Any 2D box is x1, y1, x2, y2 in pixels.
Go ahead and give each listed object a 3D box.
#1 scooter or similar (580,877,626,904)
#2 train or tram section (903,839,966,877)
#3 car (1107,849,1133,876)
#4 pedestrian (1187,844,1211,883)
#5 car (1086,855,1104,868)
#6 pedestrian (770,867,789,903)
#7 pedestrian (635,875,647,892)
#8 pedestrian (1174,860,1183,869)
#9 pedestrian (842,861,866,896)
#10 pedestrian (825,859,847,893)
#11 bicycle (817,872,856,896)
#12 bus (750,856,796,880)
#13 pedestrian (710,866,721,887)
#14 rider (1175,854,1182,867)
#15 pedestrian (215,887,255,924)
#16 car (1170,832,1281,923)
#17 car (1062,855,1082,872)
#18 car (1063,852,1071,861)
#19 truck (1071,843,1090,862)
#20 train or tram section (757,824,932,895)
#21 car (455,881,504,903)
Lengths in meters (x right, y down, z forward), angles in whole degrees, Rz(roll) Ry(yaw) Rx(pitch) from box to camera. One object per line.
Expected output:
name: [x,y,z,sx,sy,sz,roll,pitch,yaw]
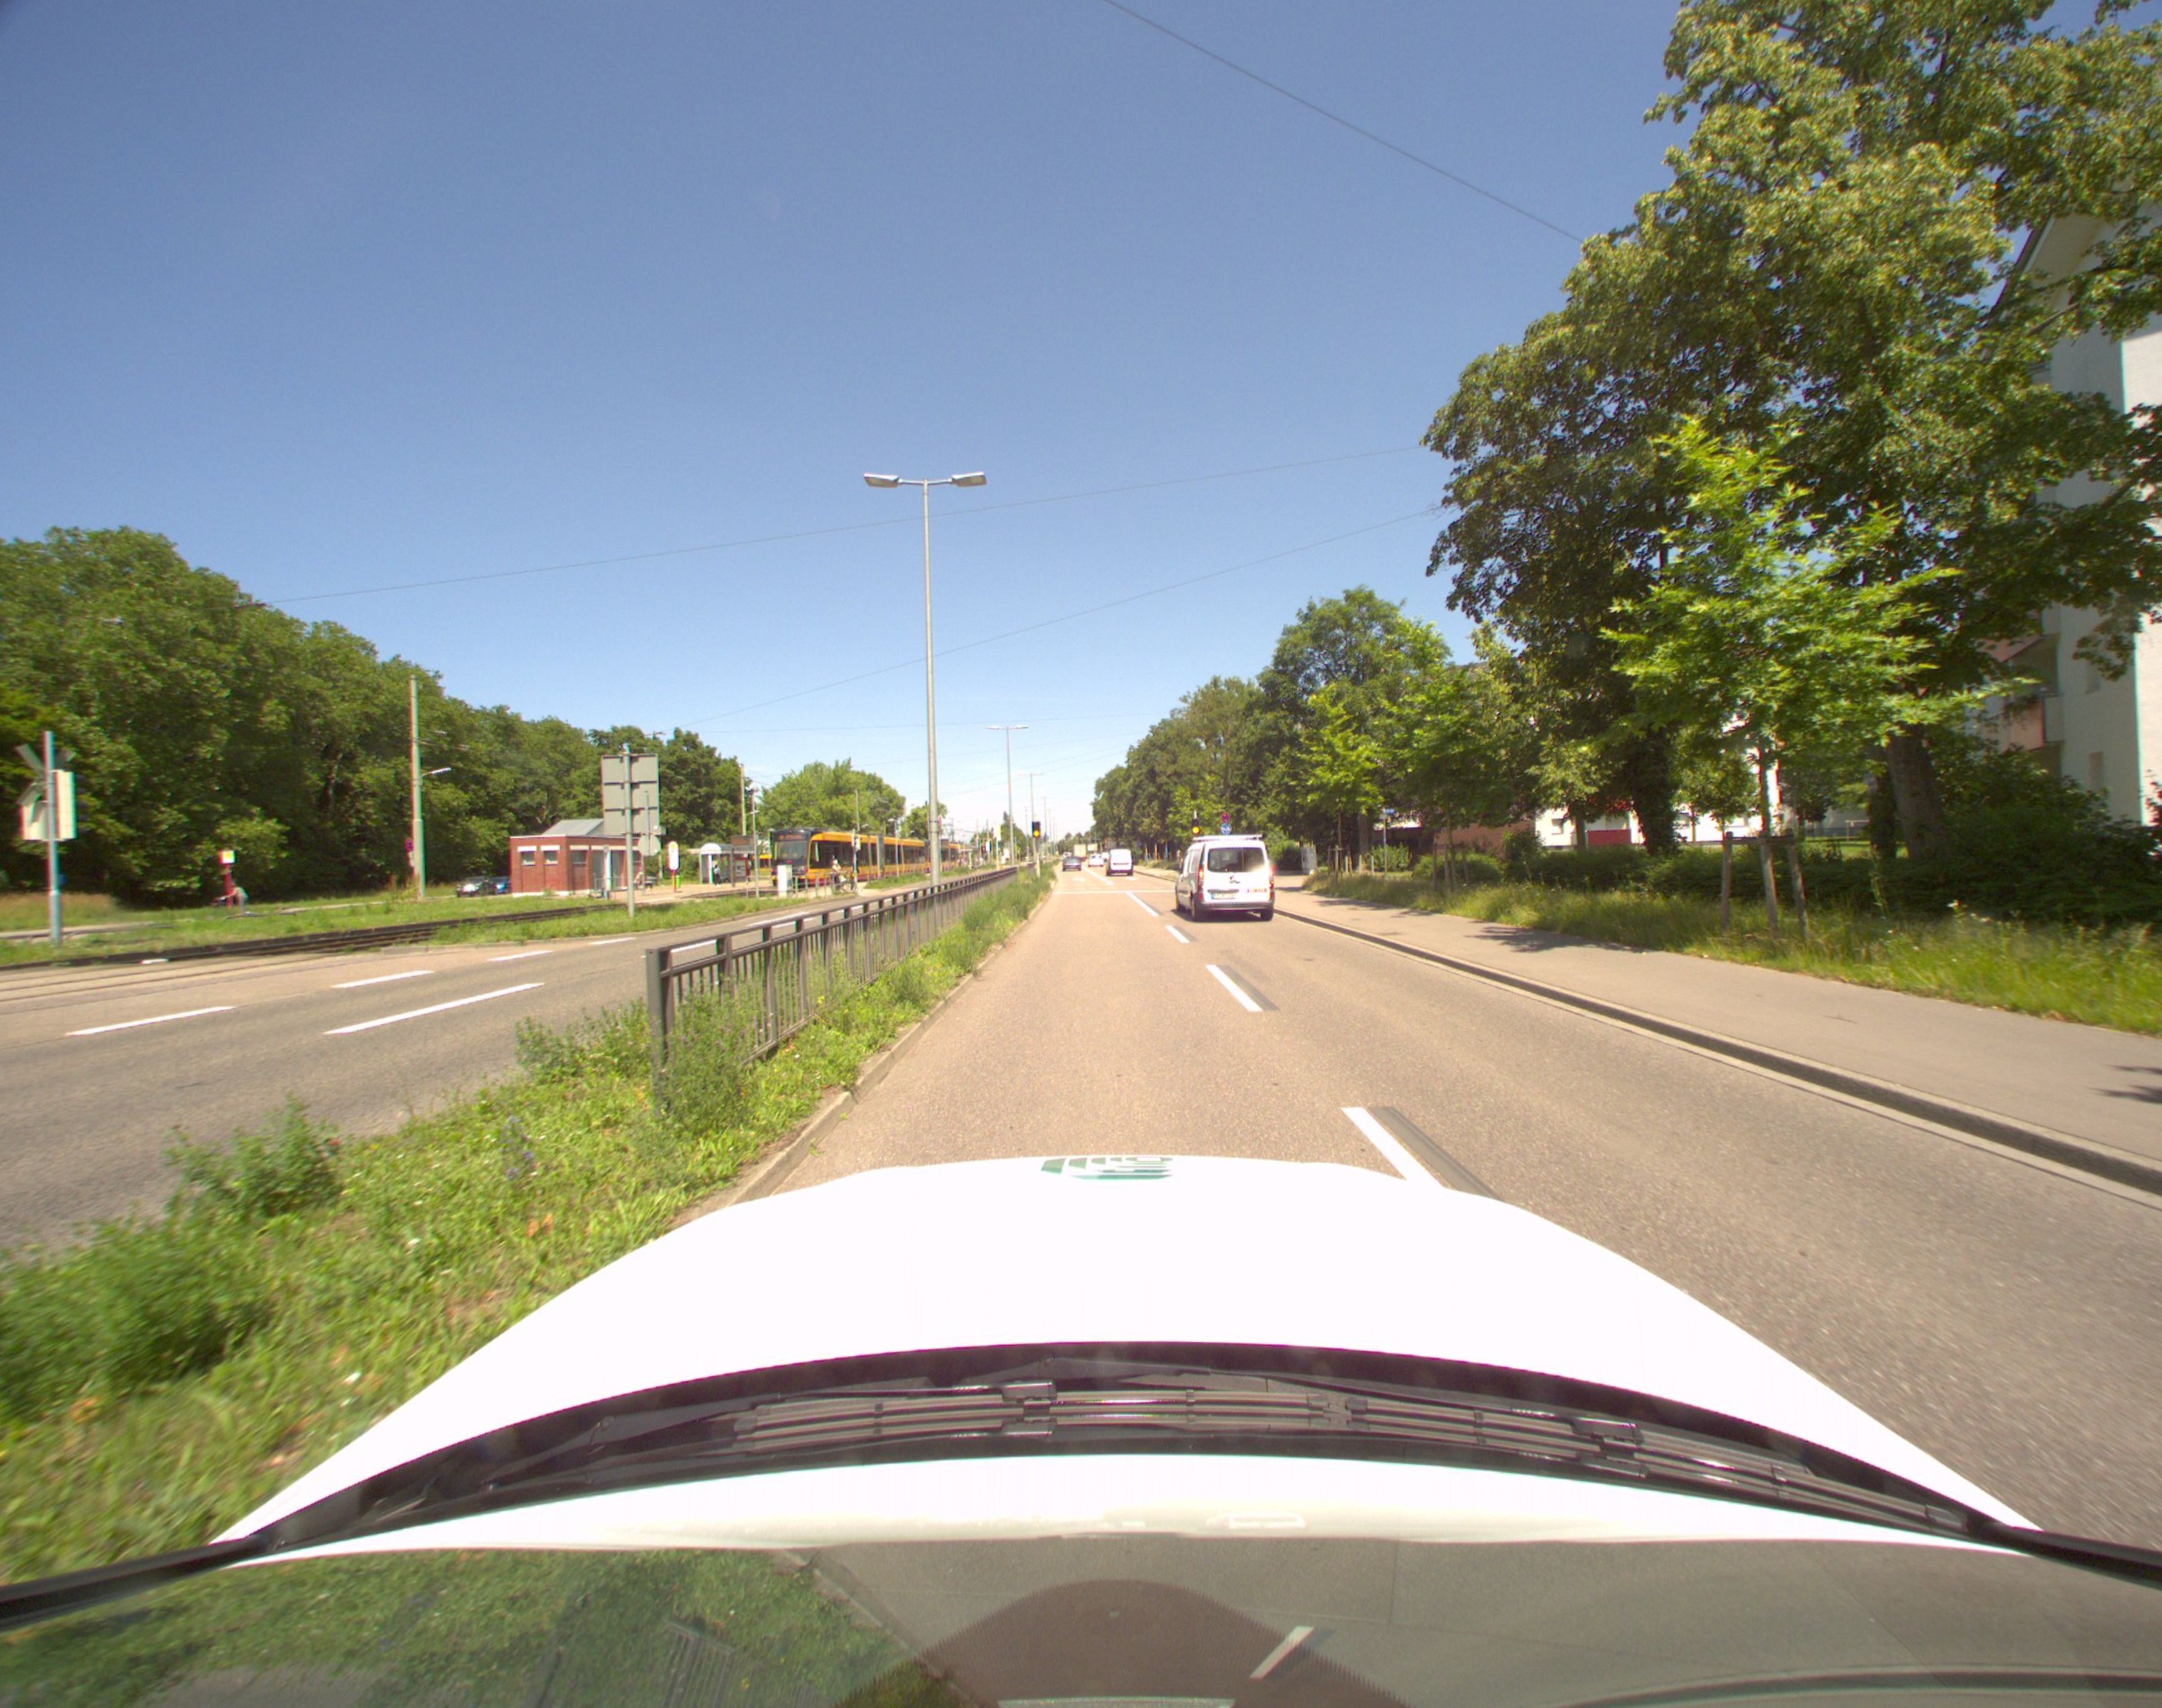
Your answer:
scooter or similar: [-21.898,1.654,37.323,0.605,1.127,1.684,-2,0,43]
train or tram section: [-16.311,0.478,93.221,2.780,3.668,25.986,-2,0,-1]
car: [2.713,0.563,56.239,1.721,1.814,4.003,-1,0,3]
pedestrian: [5.621,0.449,38.701,1.039,1.850,0.760,-1,-1,11]
car: [1.653,0.891,96.977,1.799,1.540,3.997,-2,0,-2]
pedestrian: [-13.304,1.338,35.874,0.540,1.541,0.860,-2,0,-35]
pedestrian: [-27.559,1.823,51.018,0.480,1.018,0.522,-2,0,1]
pedestrian: [9.913,1.031,82.768,0.676,0.847,1.773,-2,0,-1]
pedestrian: [-11.900,1.304,42.671,0.949,1.797,0.709,-2,-1,28]
pedestrian: [-12.247,1.082,40.681,0.815,1.628,0.706,-2,0,4]
bicycle: [-12.177,1.497,40.551,1.855,1.157,0.243,-2,0,3]
bus: [-48.987,2.192,129.570,7.465,3.566,2.011,-2,0,24]
pedestrian: [-24.518,1.509,54.586,0.460,1.436,0.524,-2,0,-3]
rider: [9.910,0.669,82.716,0.676,1.281,0.533,-2,0,-2]
pedestrian: [-40.555,2.443,39.045,0.511,1.701,1.278,-2,-1,44]
car: [3.300,0.492,19.403,1.818,1.882,4.455,-1,0,0]
car: [-0.826,0.881,74.968,1.796,1.486,3.999,-2,0,-1]
car: [-3.364,0.610,194.230,1.683,1.897,3.868,-2,0,-1]
truck: [-0.257,-0.274,178.088,3.888,3.813,10.787,-2,0,-1]
train or tram section: [-15.822,0.365,61.512,2.780,3.668,37.499,-2,0,-1]
car: [-45.936,2.879,62.266,2.001,1.467,3.971,-2,0,-21]
